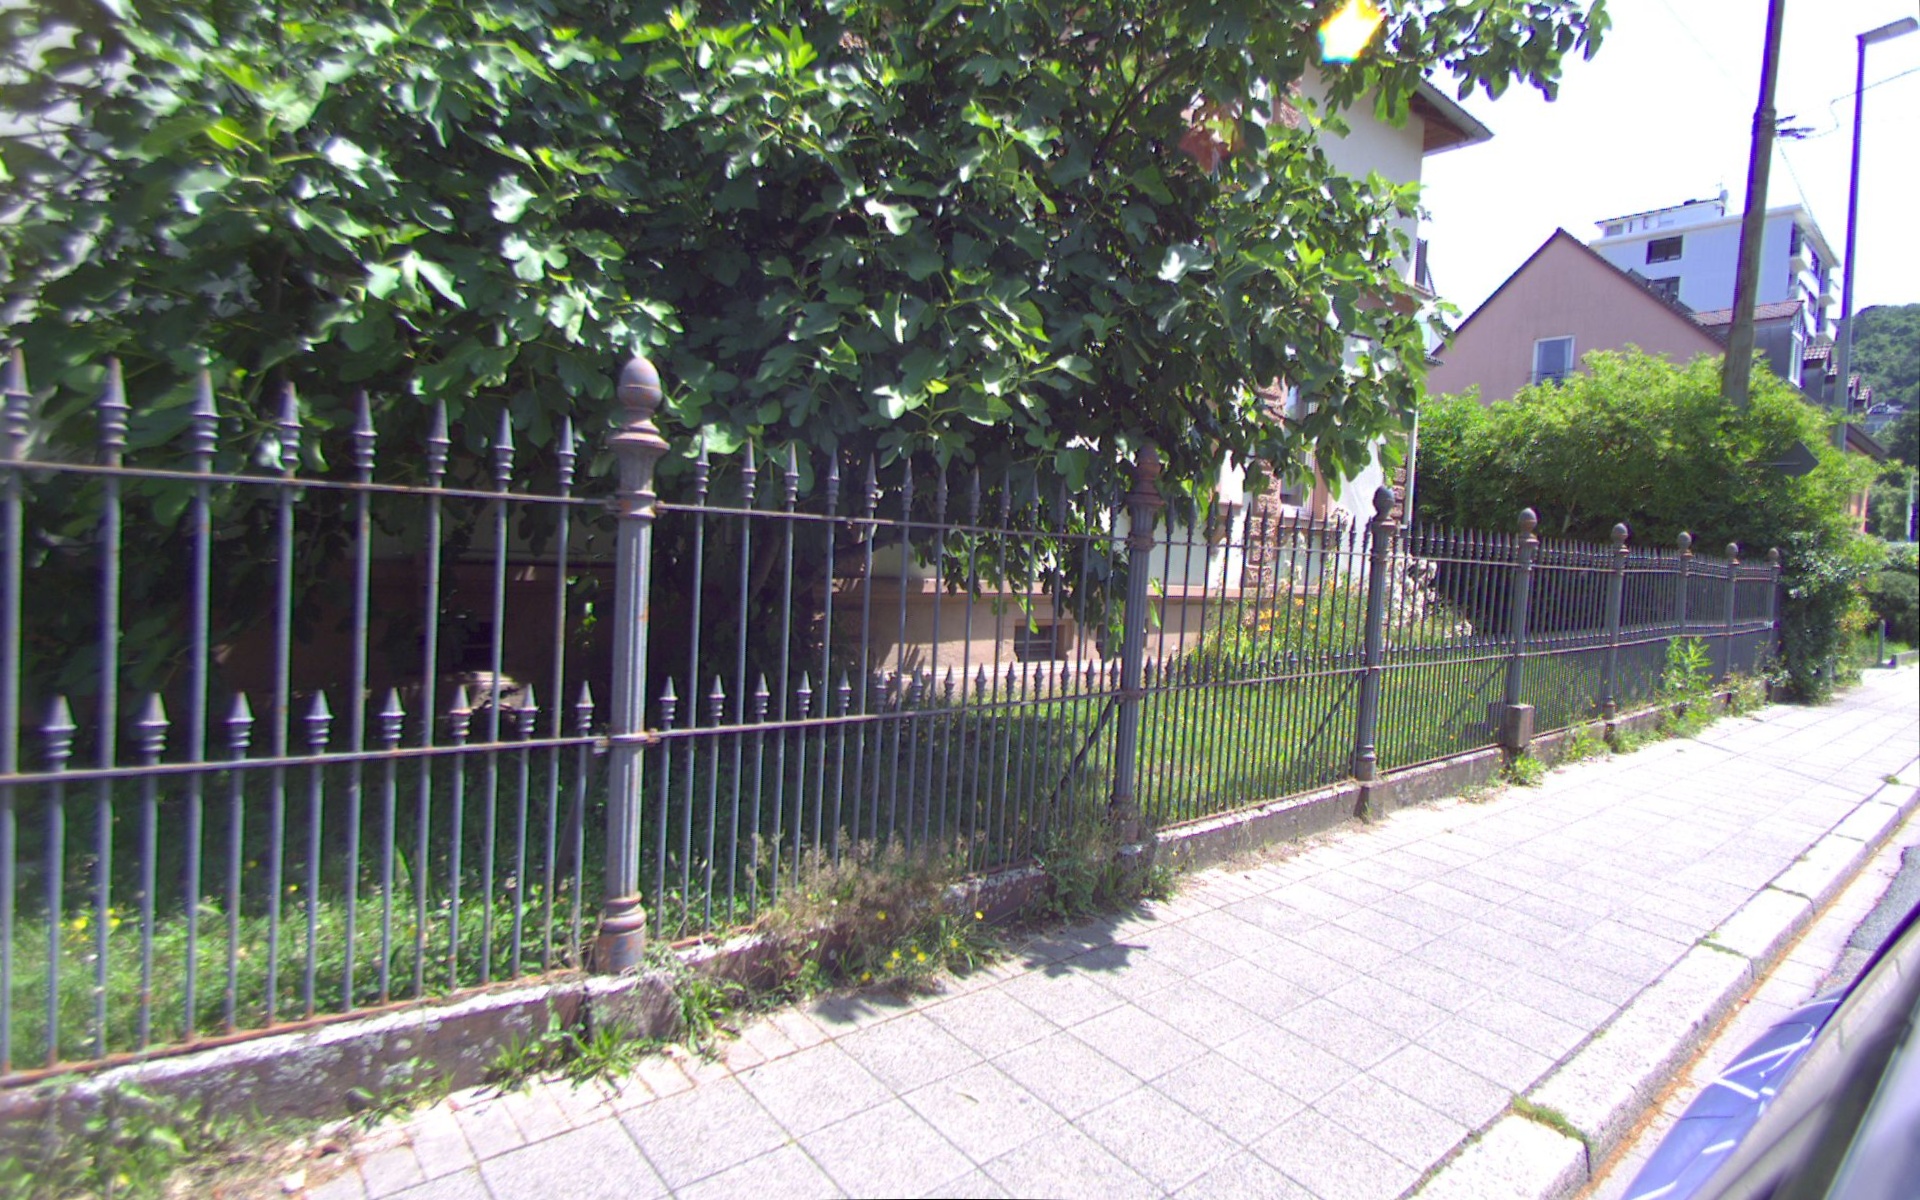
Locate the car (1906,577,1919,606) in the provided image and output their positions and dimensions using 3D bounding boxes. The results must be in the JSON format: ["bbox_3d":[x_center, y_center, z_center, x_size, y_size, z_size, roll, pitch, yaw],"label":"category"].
[{"bbox_3d":[61.063,-0.484,62.157,1.788,1.811,4.293,0,2,-2],"label":"car"}]
